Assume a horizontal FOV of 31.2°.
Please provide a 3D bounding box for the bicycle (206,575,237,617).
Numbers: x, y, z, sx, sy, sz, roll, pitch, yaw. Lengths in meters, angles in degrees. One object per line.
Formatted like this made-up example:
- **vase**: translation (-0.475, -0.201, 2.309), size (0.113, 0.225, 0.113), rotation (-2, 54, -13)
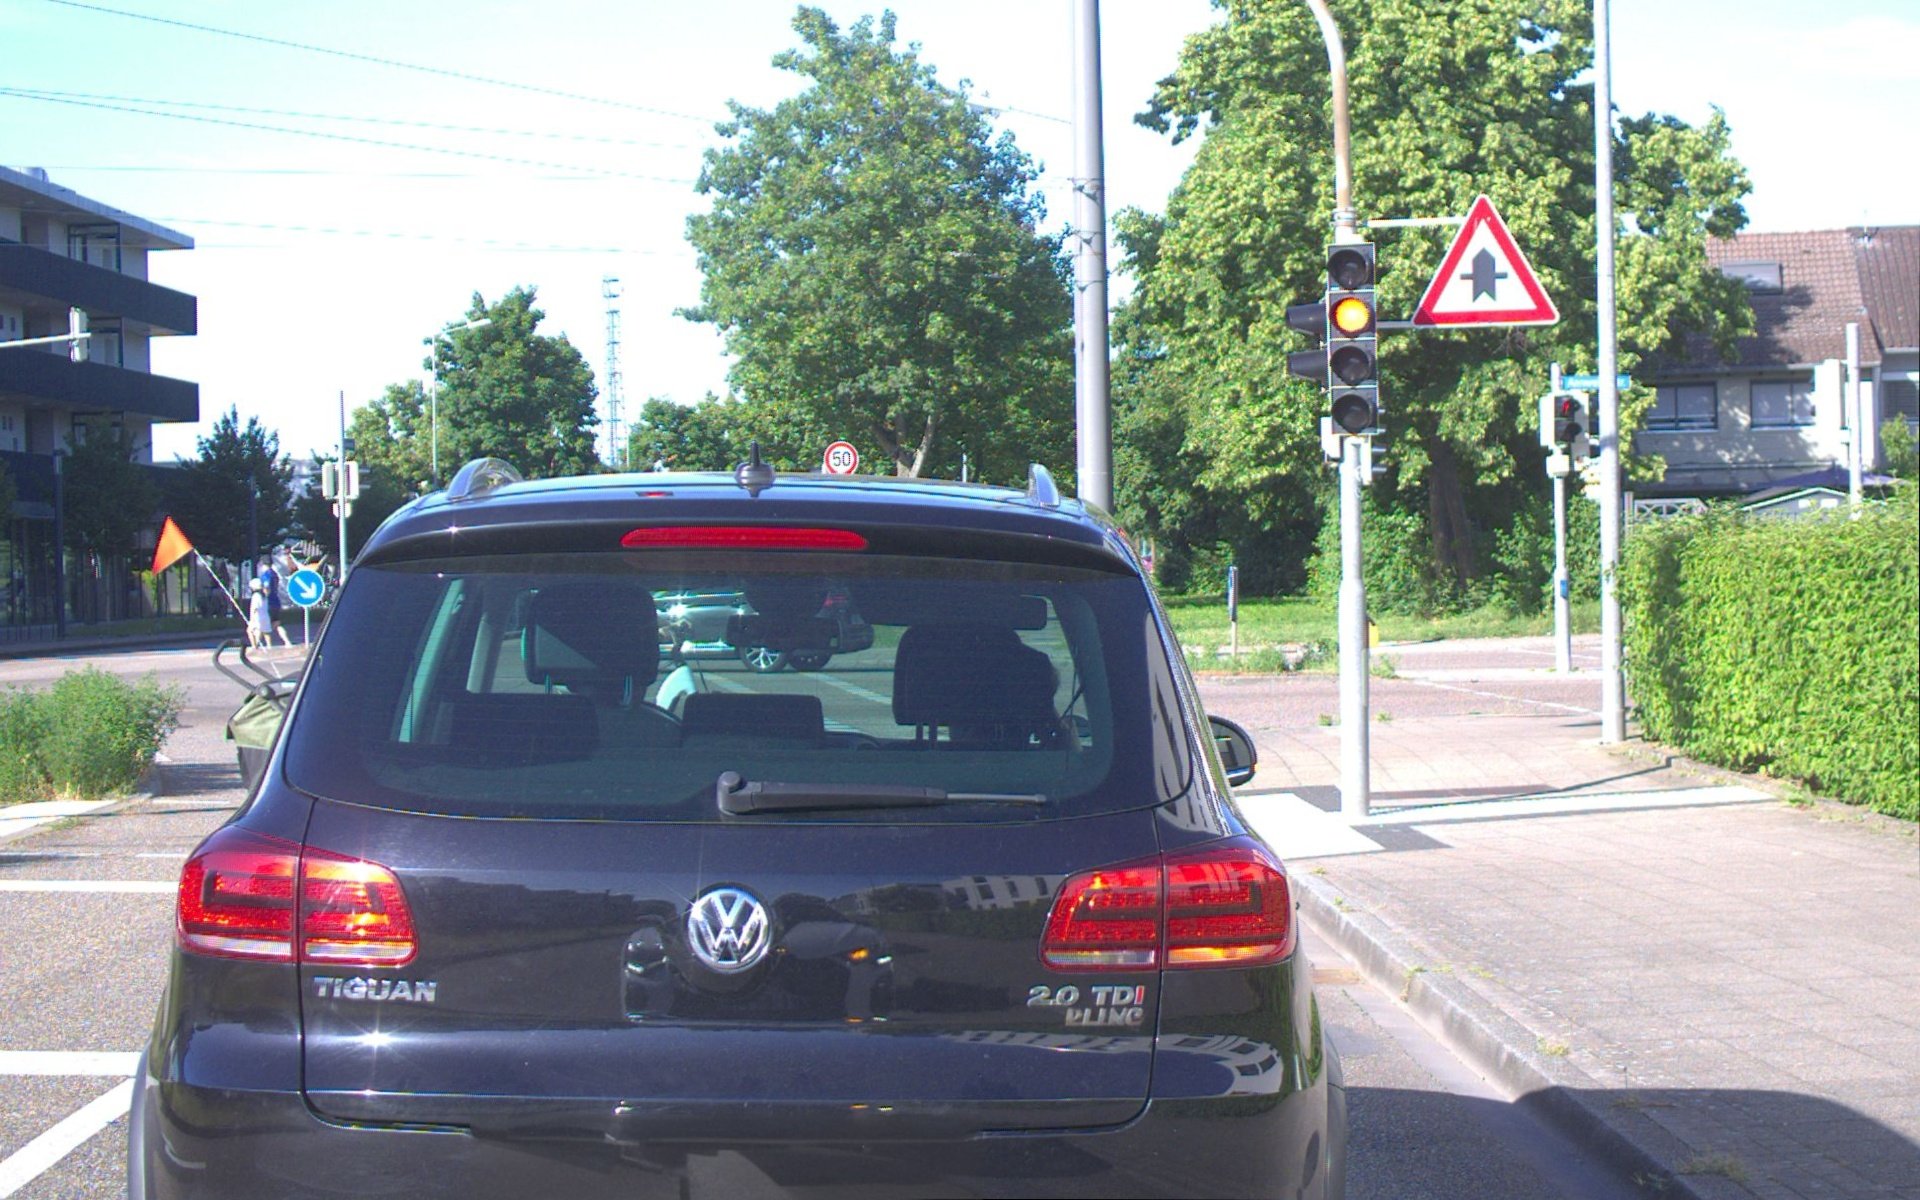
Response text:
- **bicycle**: translation (-24.087, -0.132, 112.129), size (0.630, 1.327, 1.913), rotation (1, 1, -1)

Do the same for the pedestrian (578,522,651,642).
- **pedestrian**: translation (-4.896, -0.258, 48.765), size (0.813, 1.686, 0.620), rotation (-1, 1, 16)

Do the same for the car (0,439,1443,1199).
- **car**: translation (-0.339, 0.600, 6.479), size (1.869, 1.632, 4.000), rotation (1, 1, -1)

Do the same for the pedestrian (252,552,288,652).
- **pedestrian**: translation (-12.067, 0.039, 60.159), size (0.543, 1.738, 0.518), rotation (1, 0, -6)

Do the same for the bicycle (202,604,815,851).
- **bicycle**: translation (-2.358, 0.655, 18.232), size (3.114, 1.169, 0.932), rotation (-2, 1, -4)

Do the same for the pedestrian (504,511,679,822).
- **pedestrian**: translation (-1.945, 0.338, 18.264), size (0.851, 1.588, 0.914), rotation (-2, 1, -4)

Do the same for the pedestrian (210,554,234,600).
- **pedestrian**: translation (-24.068, -0.756, 112.133), size (0.642, 1.504, 0.596), rotation (1, 0, 0)

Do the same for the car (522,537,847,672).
- **car**: translation (-3.606, 0.048, 45.441), size (3.987, 1.678, 2.000), rotation (1, 0, 5)

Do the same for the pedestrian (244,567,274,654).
- **pedestrian**: translation (-12.157, 0.183, 59.598), size (0.441, 1.498, 0.518), rotation (1, 0, -6)

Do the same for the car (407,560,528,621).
- **car**: translation (-13.146, -0.261, 91.959), size (1.994, 1.569, 4.337), rotation (1, 1, 9)

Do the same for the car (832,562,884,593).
- **car**: translation (-5.257, -1.178, 177.542), size (1.994, 1.569, 4.338), rotation (1, 1, 7)
